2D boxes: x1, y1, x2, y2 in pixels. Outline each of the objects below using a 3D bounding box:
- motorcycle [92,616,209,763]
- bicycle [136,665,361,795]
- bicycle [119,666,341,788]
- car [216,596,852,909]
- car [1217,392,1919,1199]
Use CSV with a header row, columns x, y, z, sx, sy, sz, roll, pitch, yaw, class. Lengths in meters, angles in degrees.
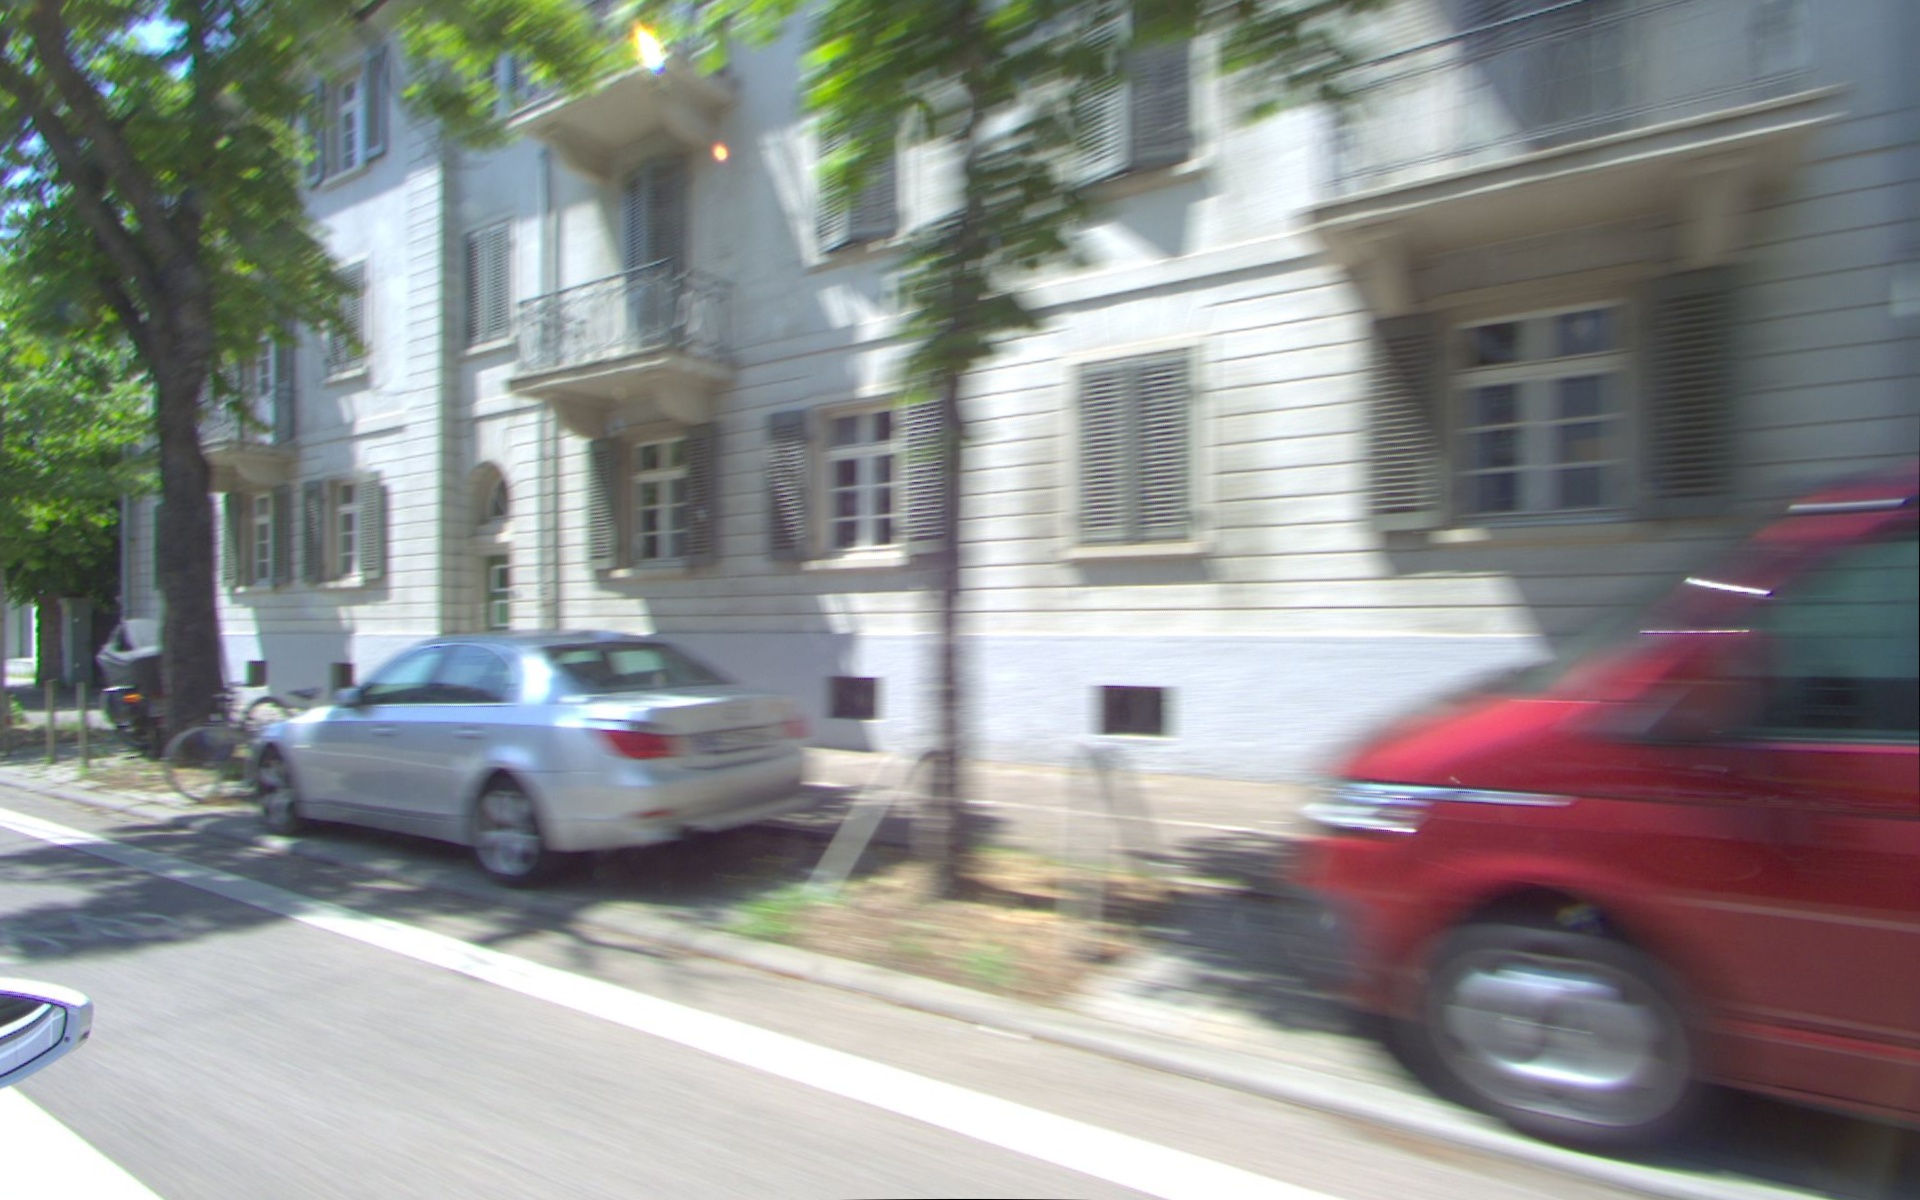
x,y,z,sx,sy,sz,roll,pitch,yaw,class
-9.366,0.968,11.542,2.532,1.525,0.741,-1,-2,44,motorcycle
-6.435,1.135,9.146,0.366,1.028,1.655,0,-1,33,bicycle
-6.772,1.142,9.381,0.366,1.028,1.655,-3,-4,33,bicycle
-3.233,0.885,7.228,4.809,1.597,1.856,-2,-3,33,car
3.441,0.549,2.847,4.905,2.039,1.856,0,-2,33,car
